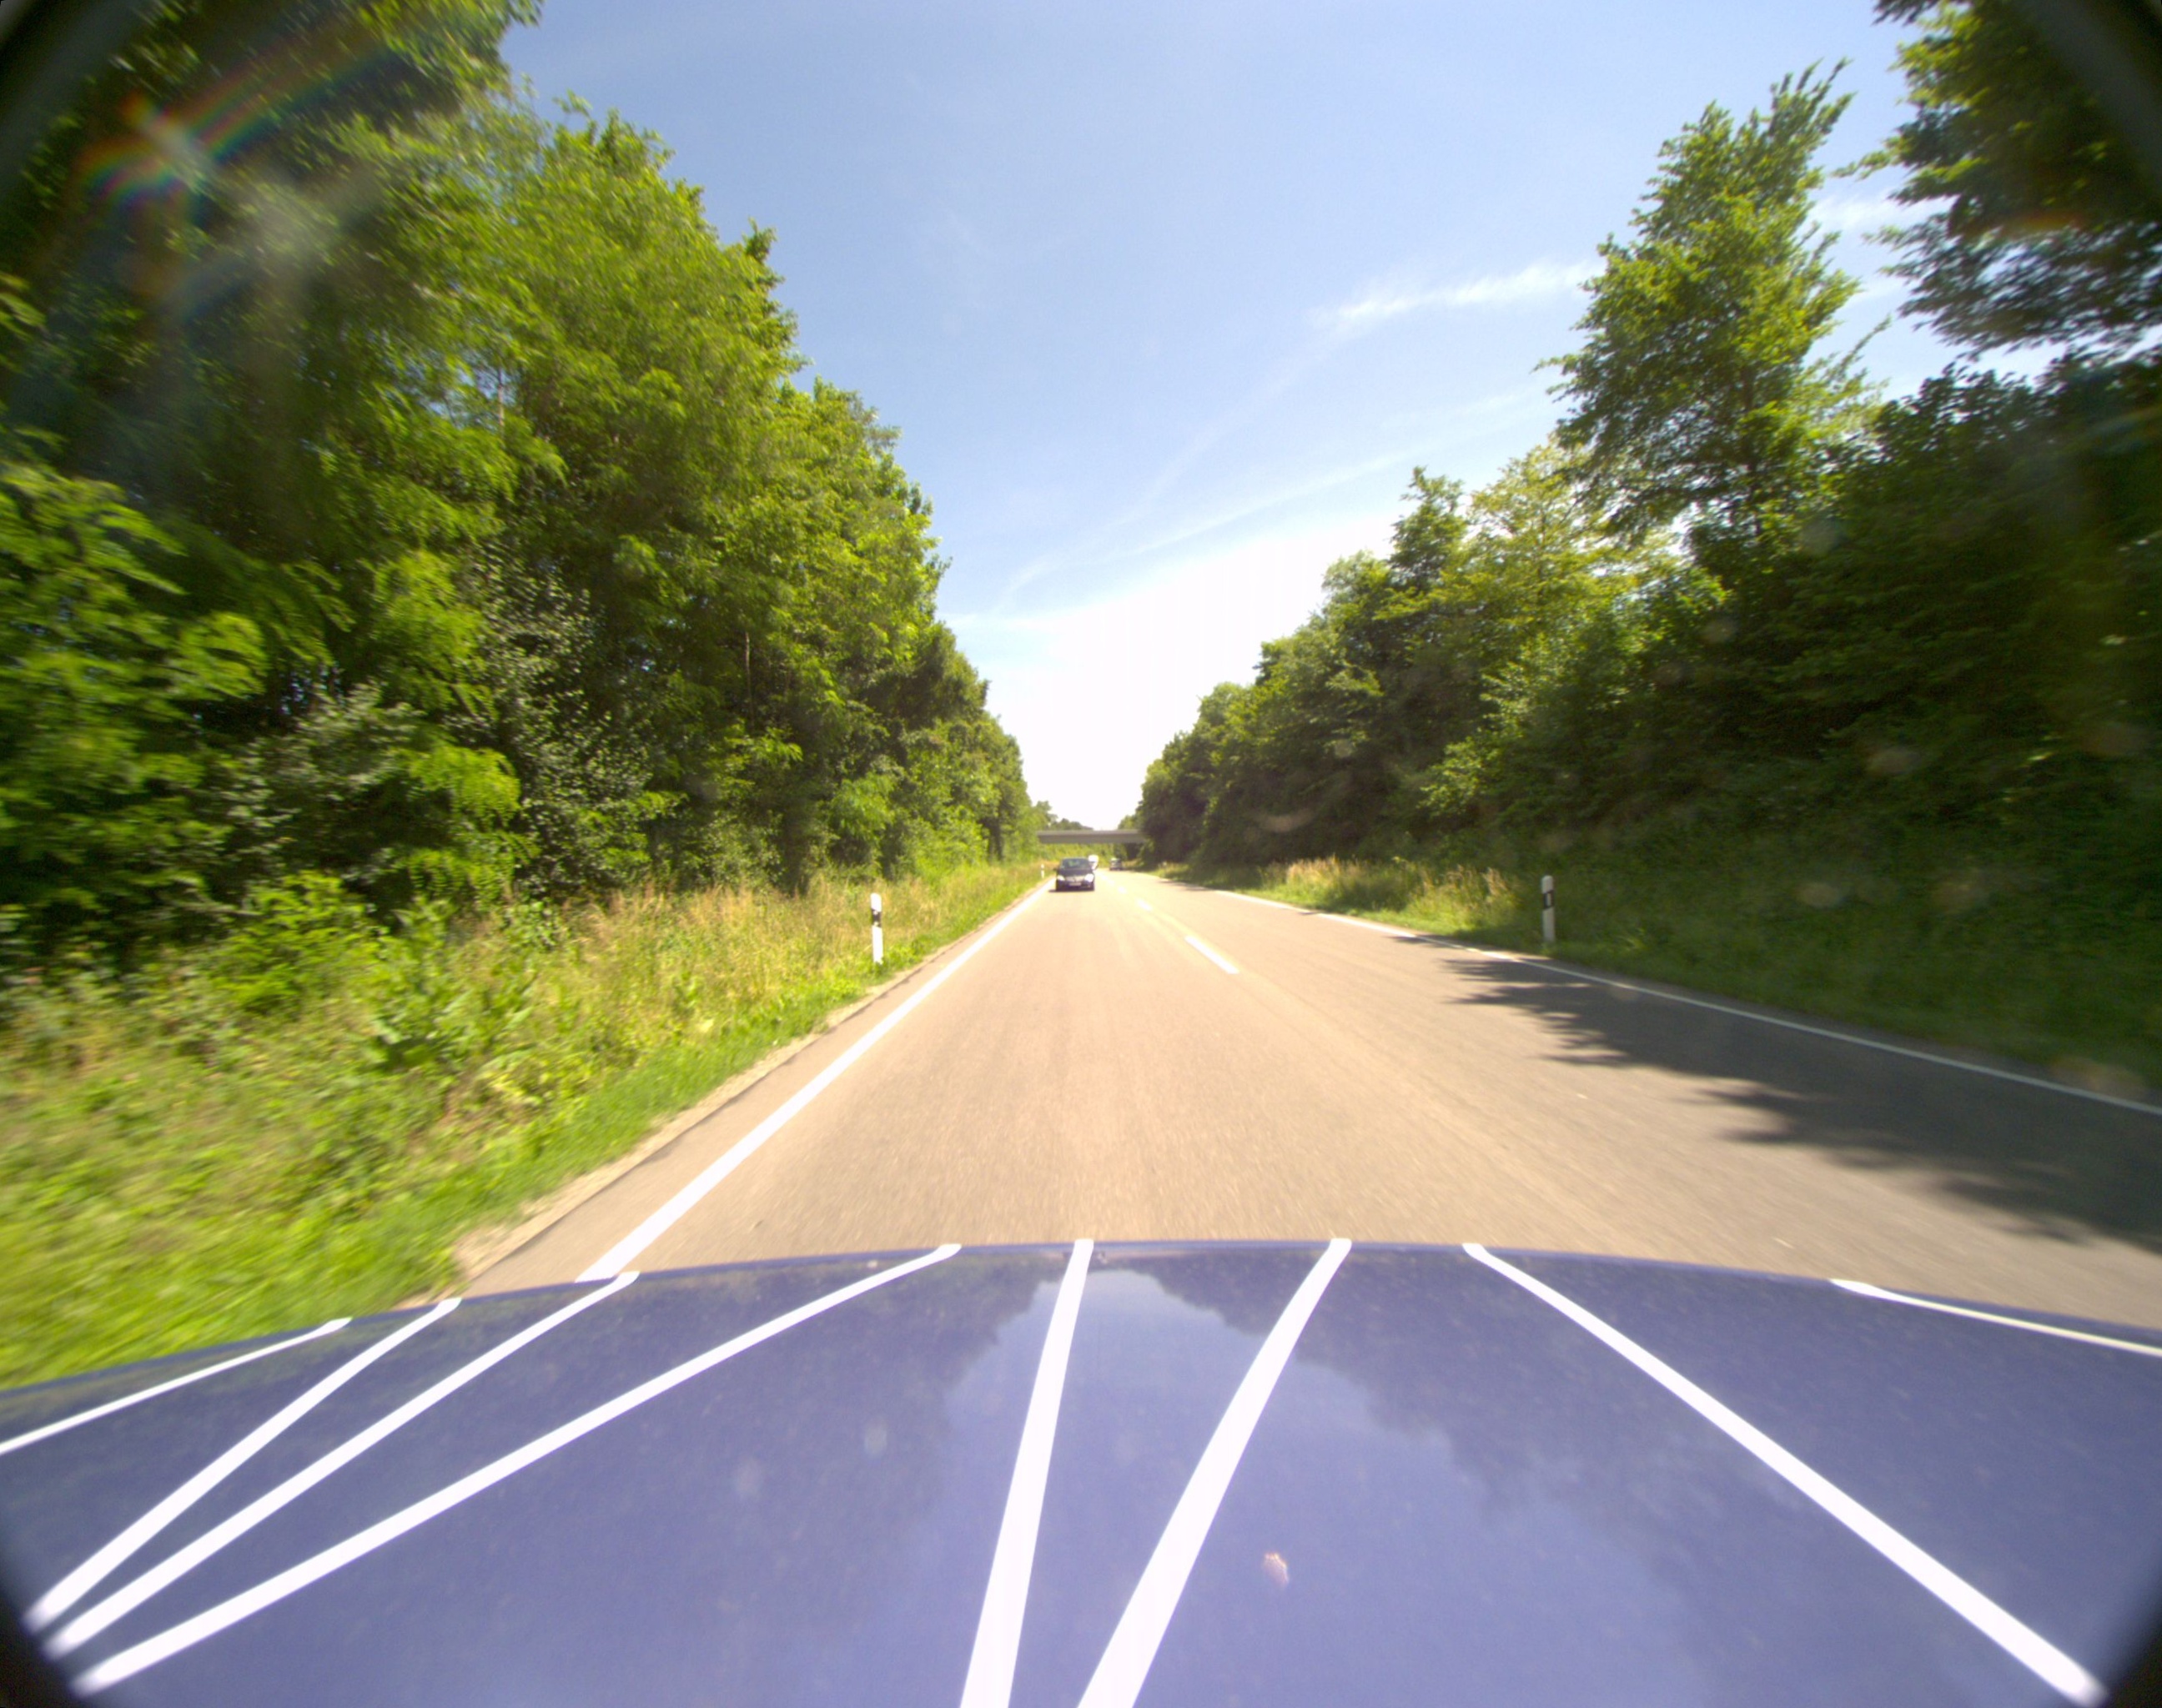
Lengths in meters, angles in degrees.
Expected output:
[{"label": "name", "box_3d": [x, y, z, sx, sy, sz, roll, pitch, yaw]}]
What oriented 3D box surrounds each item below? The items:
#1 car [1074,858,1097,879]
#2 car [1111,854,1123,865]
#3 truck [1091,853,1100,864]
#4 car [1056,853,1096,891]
[{"label": "car", "box_3d": [0.350, 1.076, 57.632, 1.709, 1.444, 5.415, -1, -1, 0]}, {"label": "car", "box_3d": [4.925, 0.741, 103.893, 1.516, 1.583, 3.793, -1, 0, 1]}, {"label": "truck", "box_3d": [4.419, 1.353, 235.156, 2.577, 3.111, 11.199, -3, 0, 1]}, {"label": "car", "box_3d": [-0.203, 0.824, 36.178, 1.784, 1.676, 4.779, 0, -1, 0]}]
